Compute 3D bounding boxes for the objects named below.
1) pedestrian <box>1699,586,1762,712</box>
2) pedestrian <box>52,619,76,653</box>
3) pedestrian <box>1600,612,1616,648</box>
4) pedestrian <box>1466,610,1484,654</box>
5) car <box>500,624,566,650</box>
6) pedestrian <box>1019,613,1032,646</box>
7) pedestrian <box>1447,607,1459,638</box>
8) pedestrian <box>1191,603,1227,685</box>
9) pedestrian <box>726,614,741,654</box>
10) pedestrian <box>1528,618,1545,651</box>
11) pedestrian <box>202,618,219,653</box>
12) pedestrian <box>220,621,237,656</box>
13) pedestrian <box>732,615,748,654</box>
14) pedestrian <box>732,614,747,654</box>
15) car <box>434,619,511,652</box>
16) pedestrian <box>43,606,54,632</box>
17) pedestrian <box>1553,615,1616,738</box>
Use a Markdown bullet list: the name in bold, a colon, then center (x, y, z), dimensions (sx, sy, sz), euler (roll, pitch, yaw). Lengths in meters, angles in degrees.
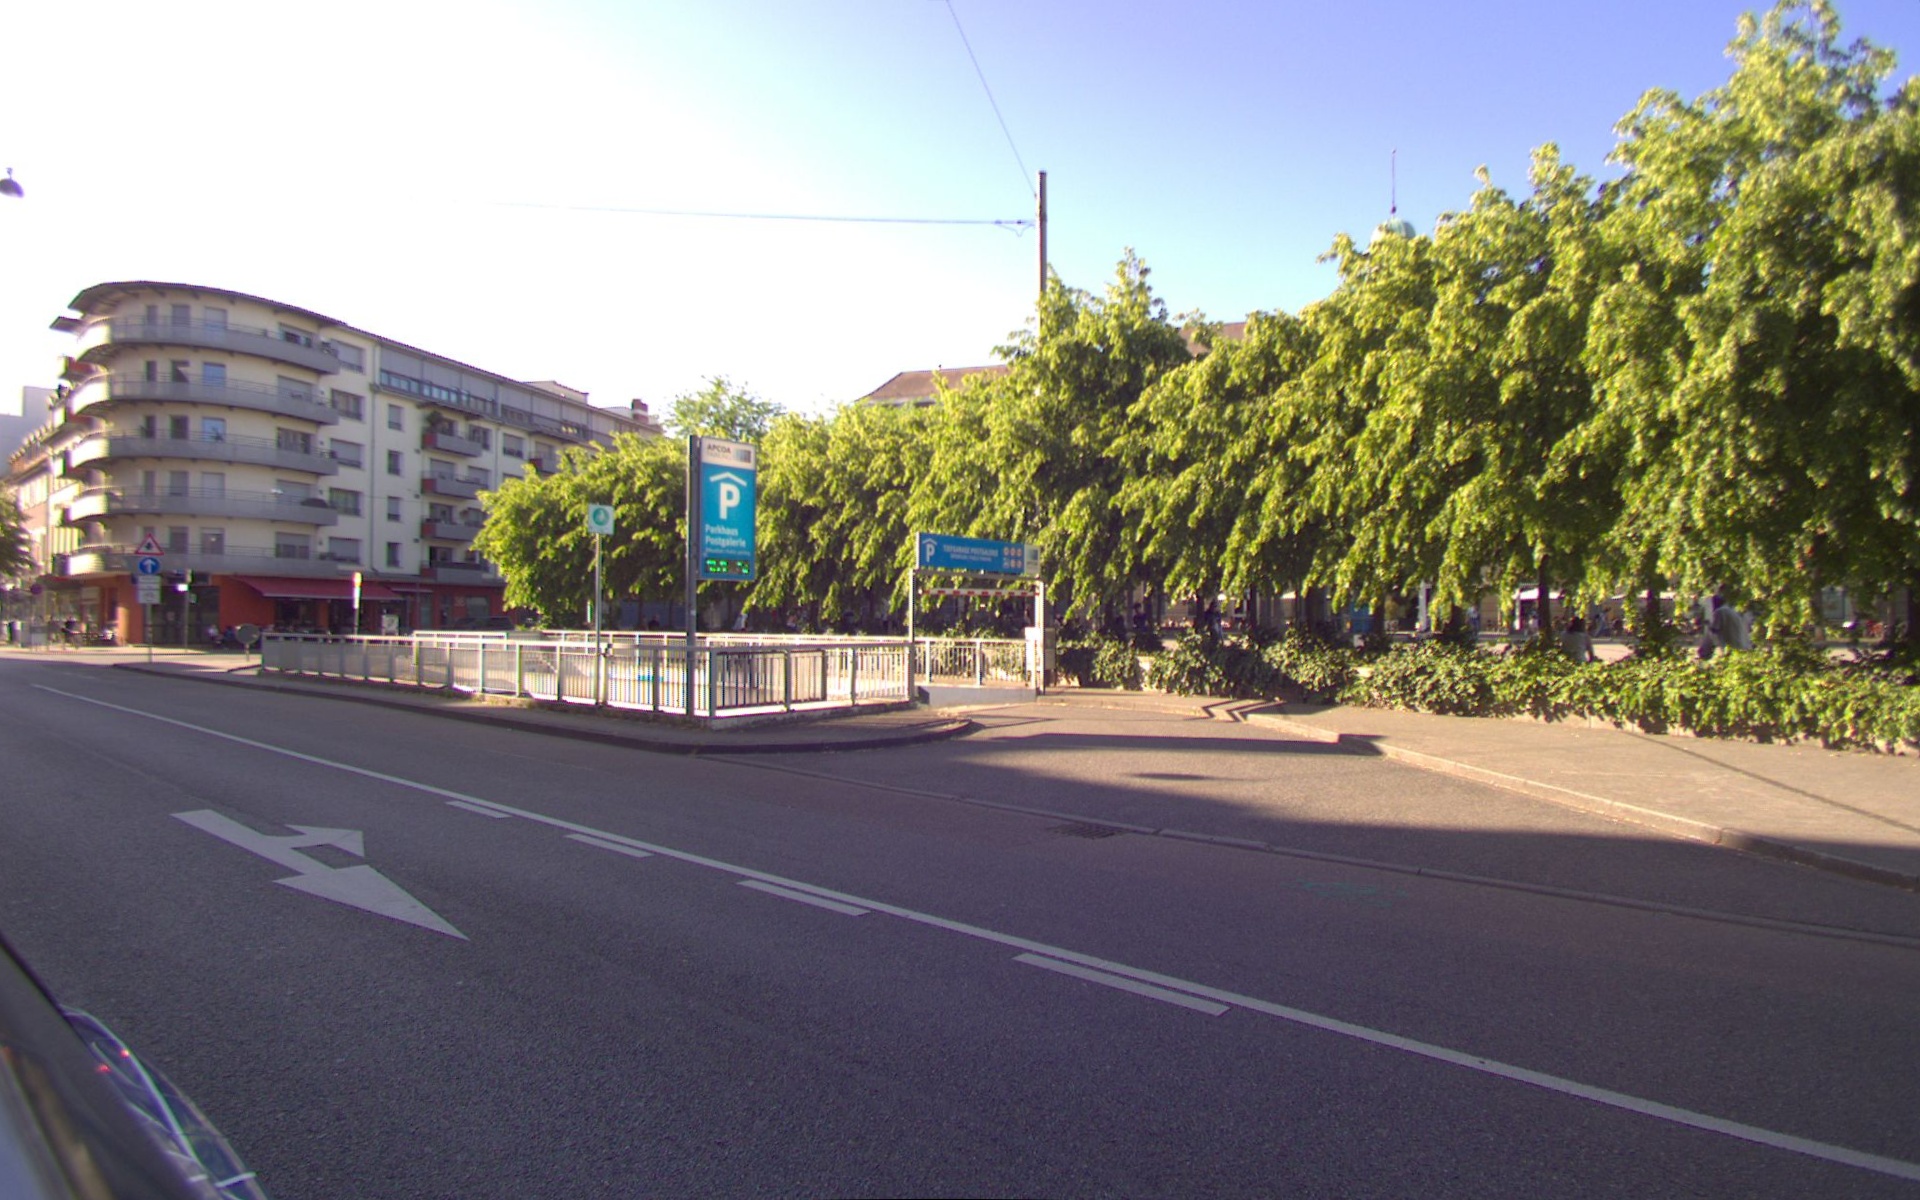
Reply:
- **pedestrian**: center (11.694, 0.726, 15.369), dimensions (0.597, 1.870, 0.578), euler (-1, 0, 22)
- **pedestrian**: center (-43.249, 1.727, 48.853), dimensions (0.695, 1.627, 0.765), euler (-1, -1, 37)
- **pedestrian**: center (32.692, 1.510, 51.064), dimensions (0.580, 1.806, 0.596), euler (-1, -1, 27)
- **pedestrian**: center (21.664, 1.349, 42.582), dimensions (0.599, 1.806, 0.576), euler (-1, -1, 31)
- **car**: center (-28.887, 2.478, 68.609), dimensions (1.938, 1.633, 4.272), euler (-1, -1, 16)
- **pedestrian**: center (3.640, 1.639, 56.322), dimensions (0.578, 1.806, 0.597), euler (-1, 0, 20)
- **pedestrian**: center (28.823, 1.299, 59.192), dimensions (0.598, 1.806, 0.577), euler (-1, -1, 27)
- **pedestrian**: center (5.828, 1.015, 23.654), dimensions (0.674, 1.870, 0.577), euler (-1, -1, 30)
- **pedestrian**: center (-10.495, 1.573, 46.849), dimensions (0.574, 1.806, 0.602), euler (0, 0, -5)
- **pedestrian**: center (32.291, 1.924, 56.668), dimensions (0.593, 1.806, 0.583), euler (-1, 0, 0)
- **pedestrian**: center (-37.503, 1.777, 50.636), dimensions (0.642, 1.721, 0.568), euler (-2, -2, 43)
- **pedestrian**: center (-36.860, 1.921, 50.976), dimensions (0.642, 1.721, 0.568), euler (-2, -2, 43)
- **pedestrian**: center (-10.376, 1.617, 47.741), dimensions (0.574, 1.806, 0.601), euler (-1, 0, 0)
- **pedestrian**: center (-10.066, 1.566, 46.196), dimensions (0.574, 1.806, 0.602), euler (0, 0, -5)
- **car**: center (-30.455, 2.199, 63.359), dimensions (1.938, 1.927, 4.403), euler (-1, -1, 16)
- **pedestrian**: center (-54.656, 1.137, 60.675), dimensions (0.515, 1.541, 0.371), euler (-1, -1, 37)
- **pedestrian**: center (9.812, 1.170, 15.902), dimensions (0.732, 1.870, 0.574), euler (-1, -1, 44)
